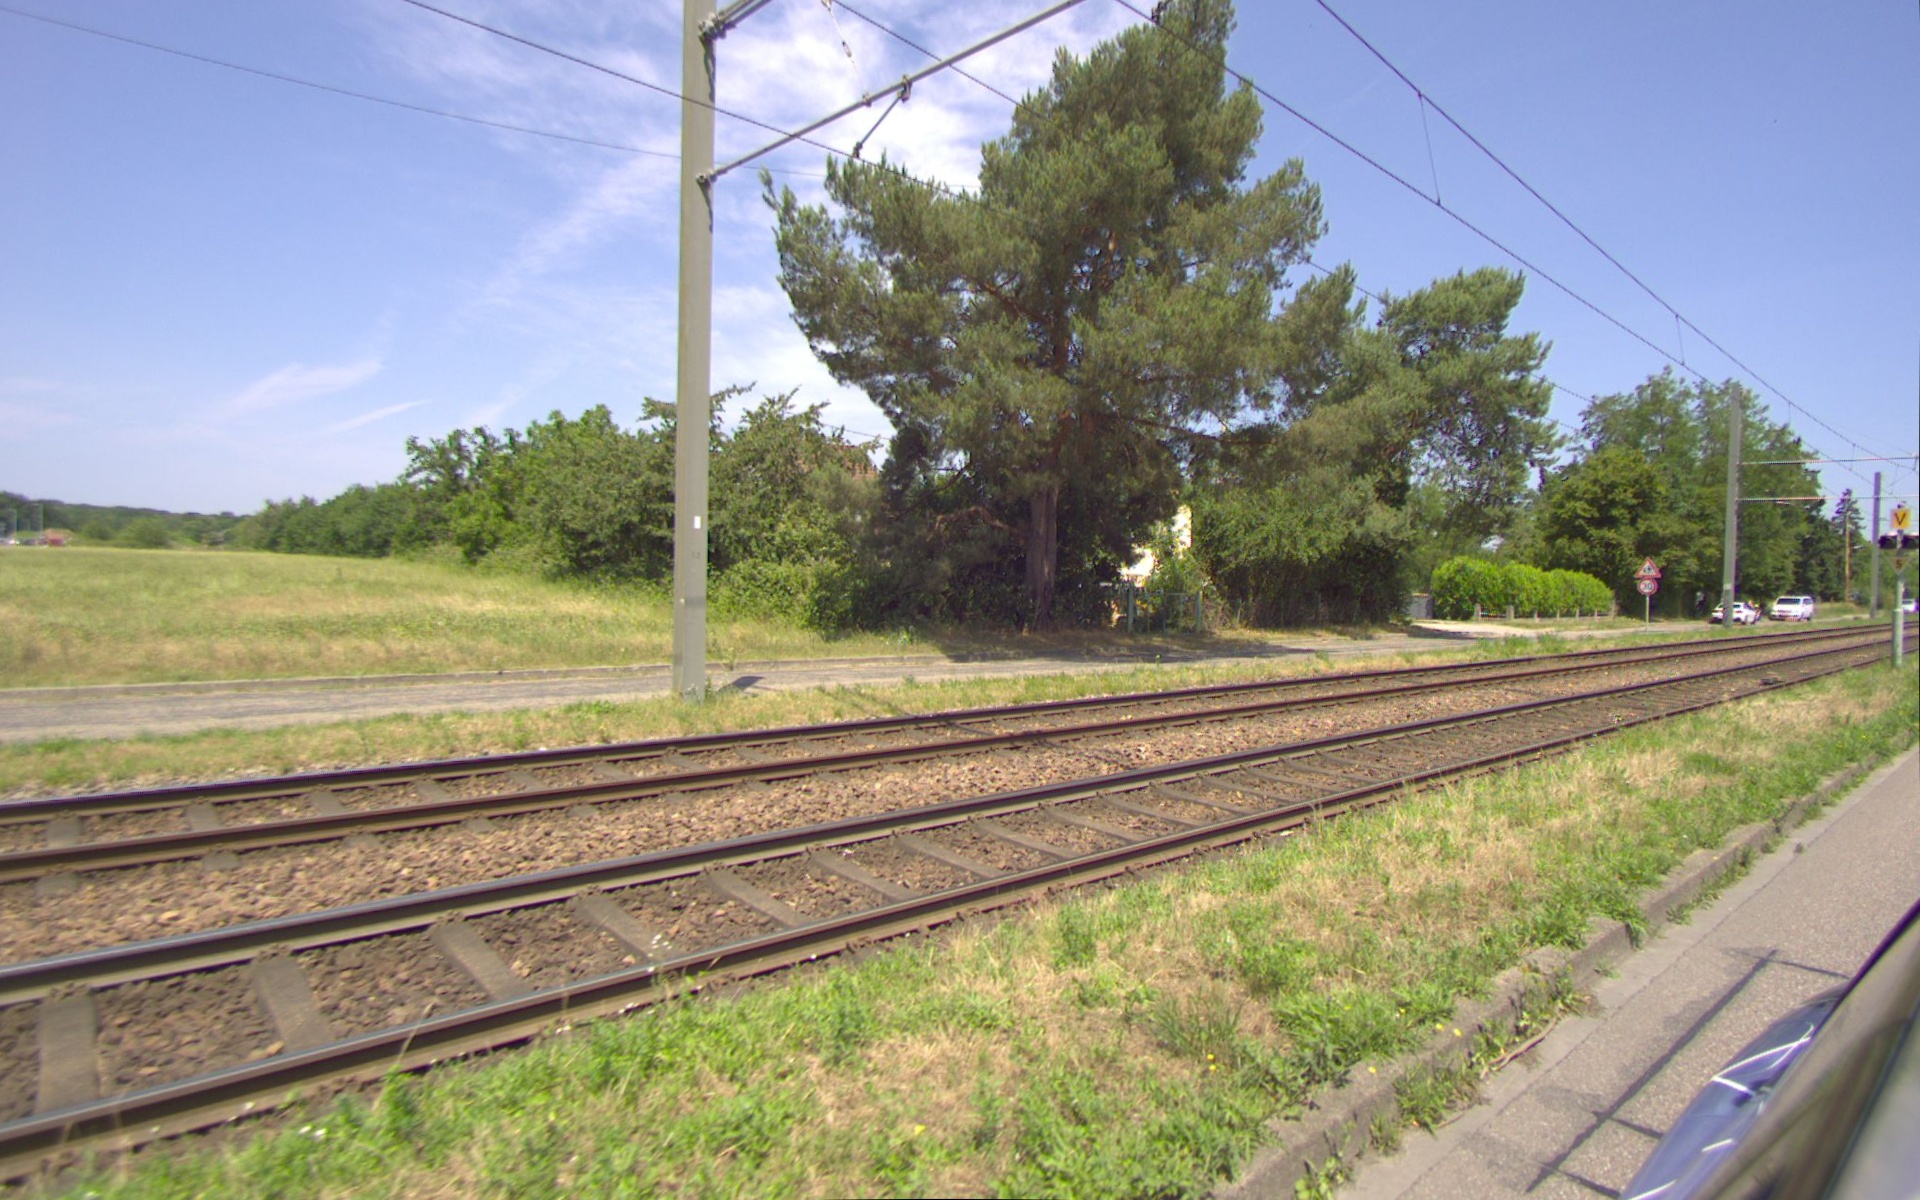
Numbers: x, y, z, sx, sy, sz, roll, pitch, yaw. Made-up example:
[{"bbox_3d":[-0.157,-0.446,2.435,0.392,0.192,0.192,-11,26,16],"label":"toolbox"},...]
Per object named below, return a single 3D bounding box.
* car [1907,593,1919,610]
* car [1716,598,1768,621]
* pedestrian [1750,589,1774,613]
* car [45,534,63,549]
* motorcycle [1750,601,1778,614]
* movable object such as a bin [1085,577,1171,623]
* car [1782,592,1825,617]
[{"bbox_3d":[121.998,0.160,128.657,4.507,2.150,1.943,0,1,-41],"label":"car"},{"bbox_3d":[50.288,0.562,65.071,3.930,1.401,1.921,0,1,-41],"label":"car"},{"bbox_3d":[56.824,0.059,71.714,0.863,1.684,1.172,0,1,-36],"label":"pedestrian"},{"bbox_3d":[-133.025,-8.586,148.501,1.834,1.940,4.674,0,1,-44],"label":"car"},{"bbox_3d":[57.128,0.532,71.915,2.738,0.918,0.859,0,1,-37],"label":"motorcycle"},{"bbox_3d":[6.468,-0.023,38.968,2.647,1.652,1.997,0,2,-41],"label":"movable object such as a bin"},{"bbox_3d":[64.847,0.330,77.773,4.507,1.849,1.862,0,1,-41],"label":"car"}]
